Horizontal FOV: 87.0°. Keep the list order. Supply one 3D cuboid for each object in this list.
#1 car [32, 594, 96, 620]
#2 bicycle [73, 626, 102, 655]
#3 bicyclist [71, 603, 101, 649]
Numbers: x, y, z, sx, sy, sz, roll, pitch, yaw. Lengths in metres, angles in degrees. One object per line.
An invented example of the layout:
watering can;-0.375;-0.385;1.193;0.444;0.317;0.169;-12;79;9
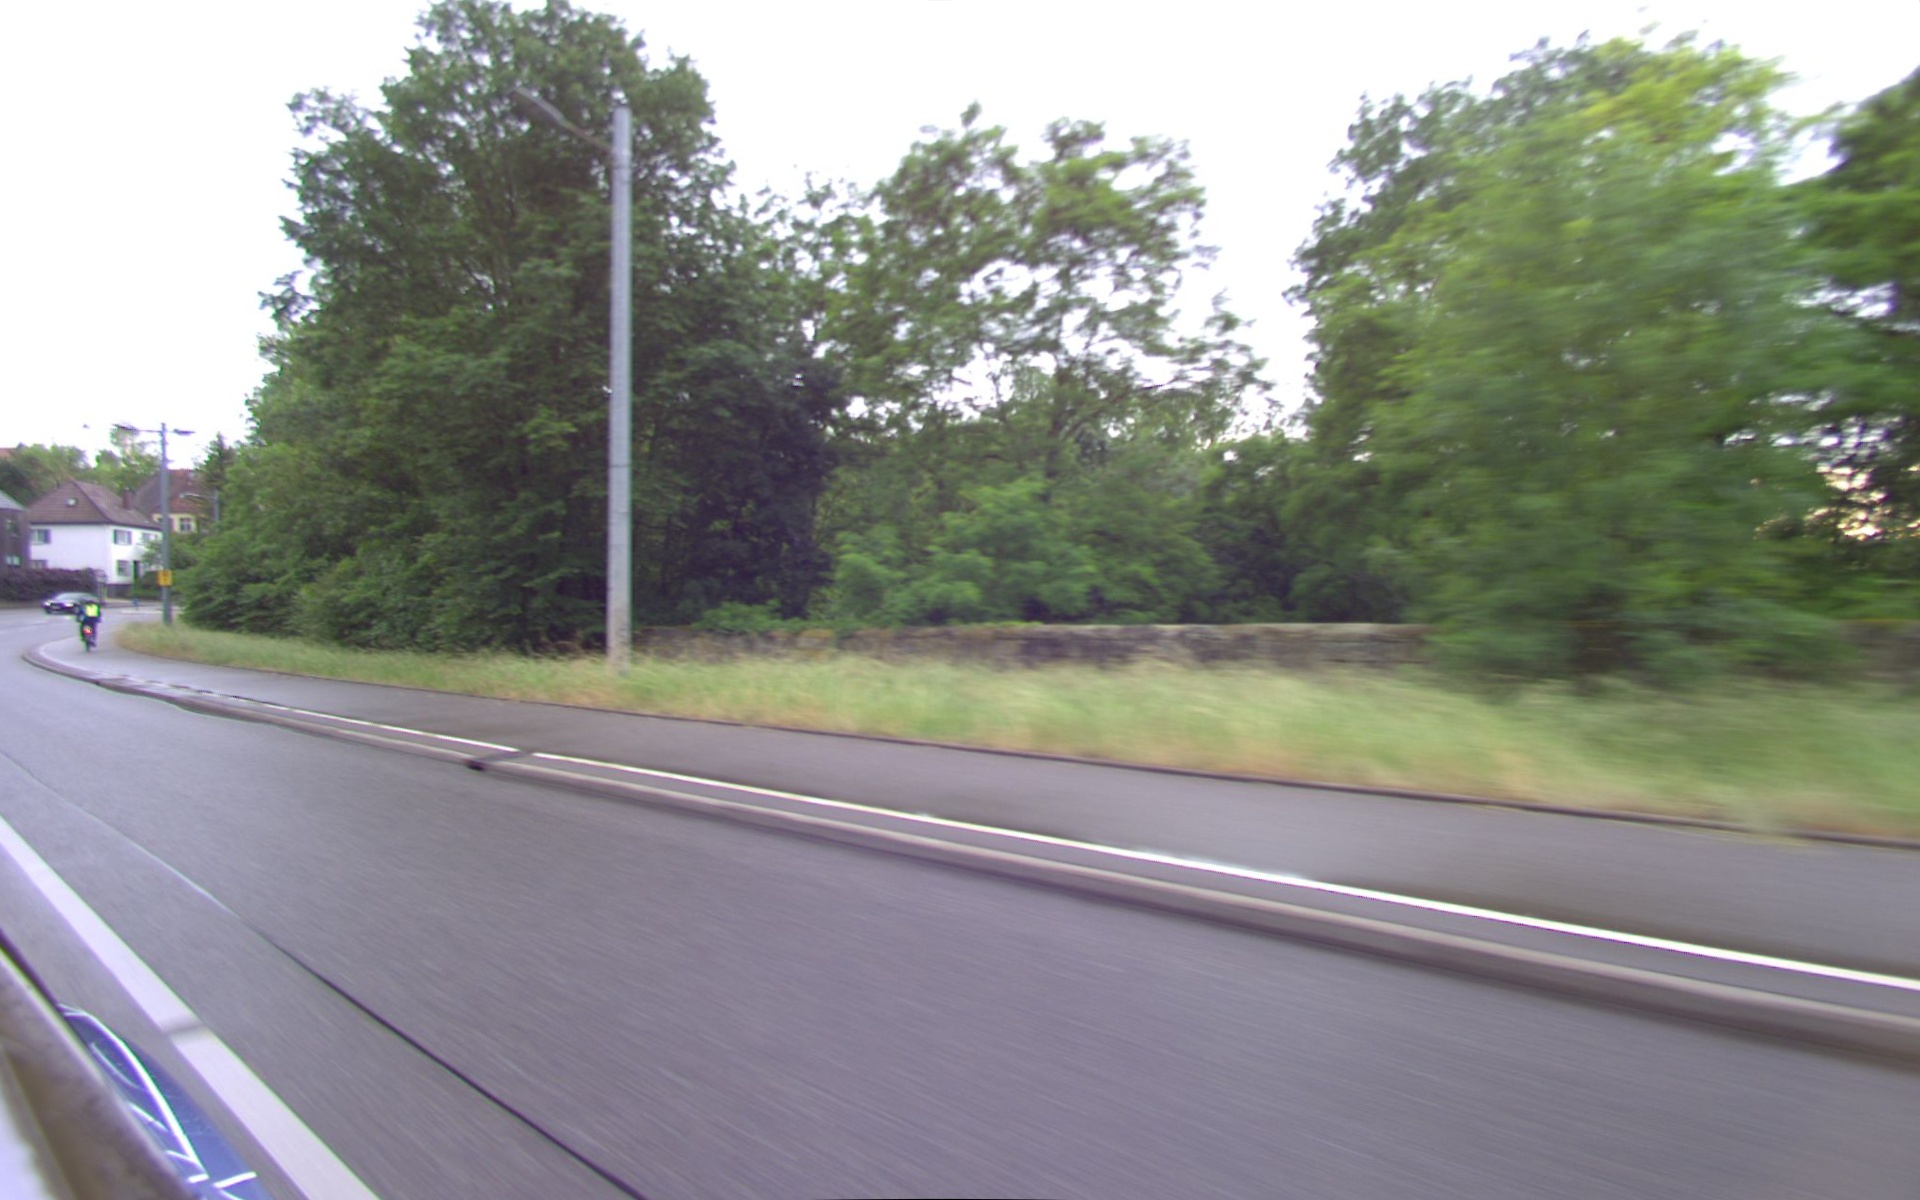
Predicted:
car;-64.382;0.474;72.779;1.966;1.730;4.012;0;1;-17
bicycle;-30.722;1.413;35.631;0.715;0.949;2.554;-3;1;-42
bicyclist;-30.784;0.910;35.659;0.699;1.567;1.173;-3;1;-38
